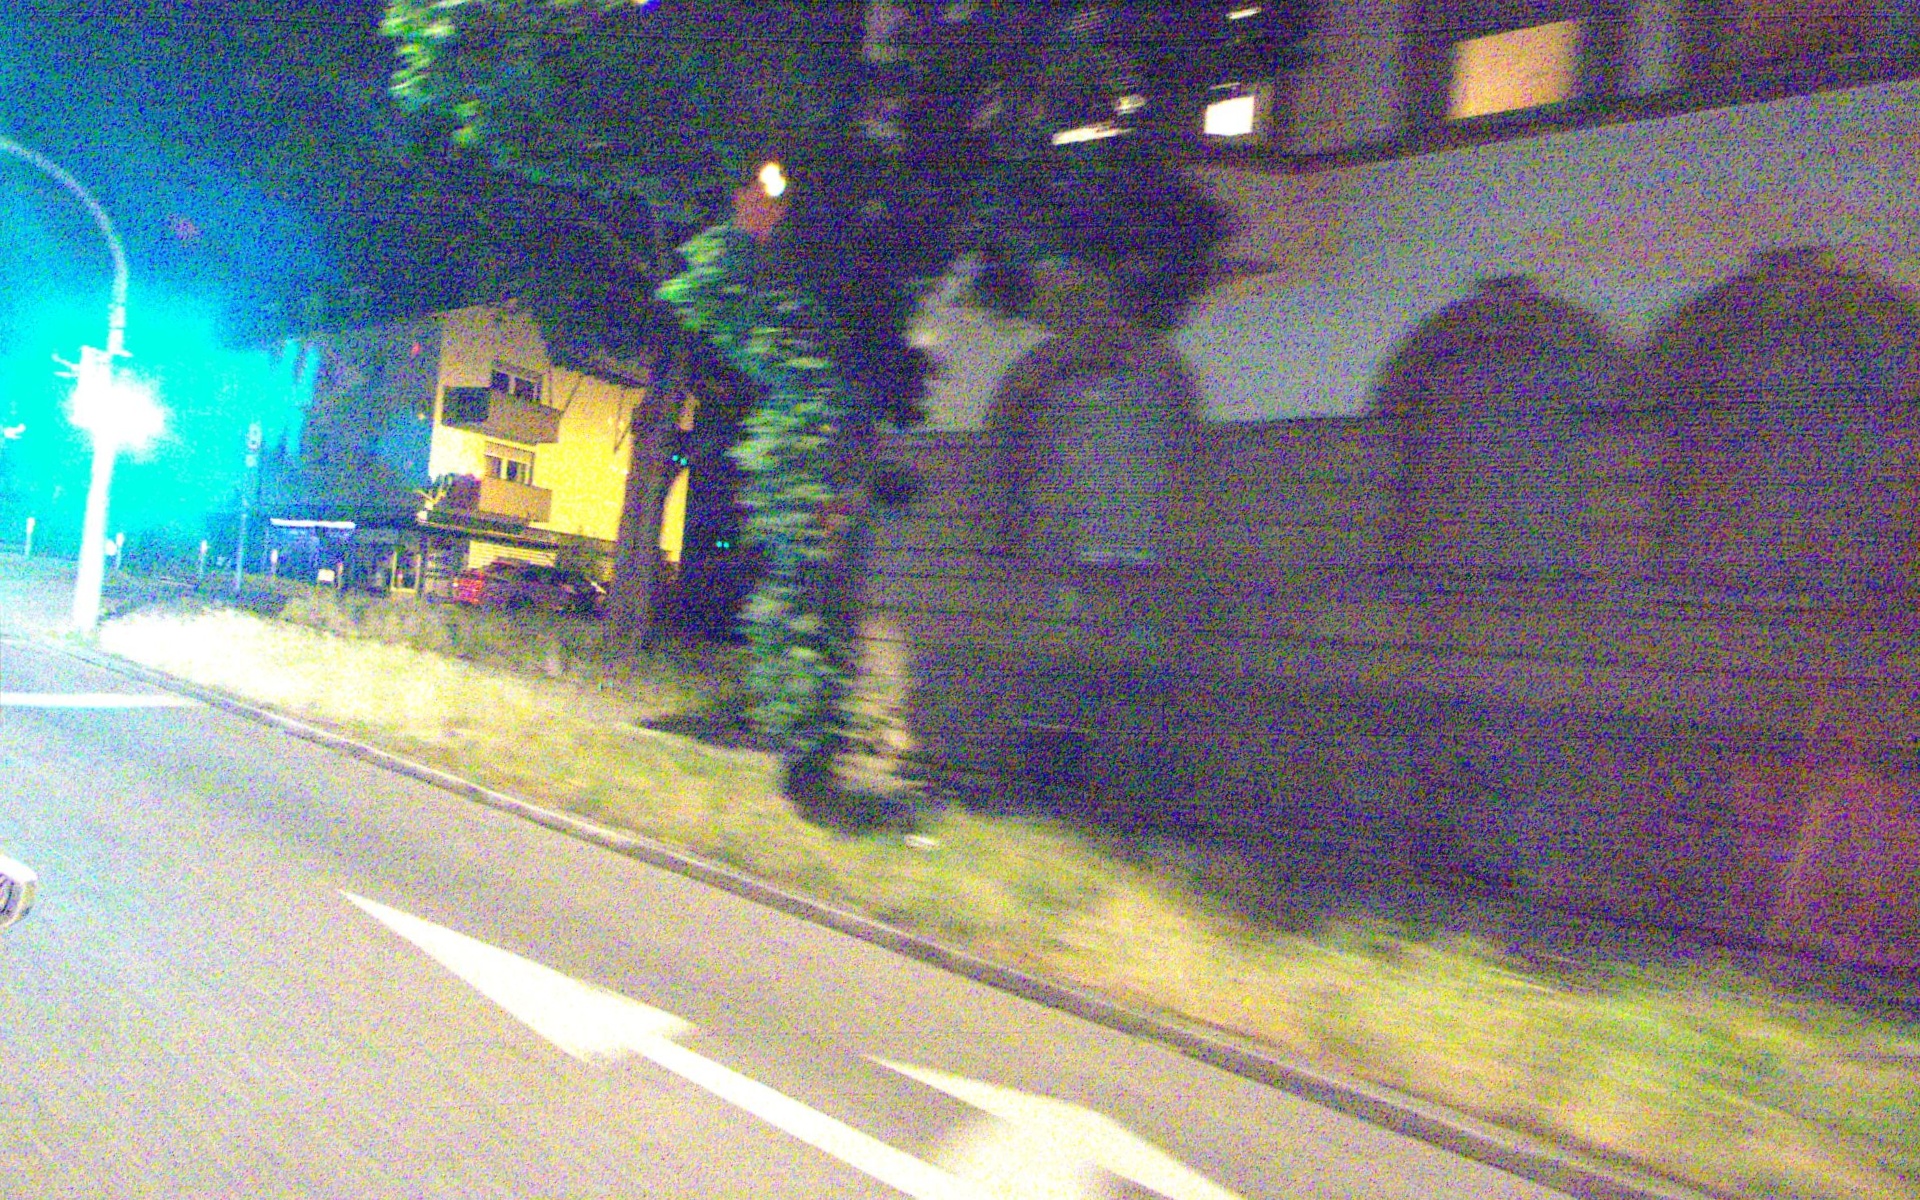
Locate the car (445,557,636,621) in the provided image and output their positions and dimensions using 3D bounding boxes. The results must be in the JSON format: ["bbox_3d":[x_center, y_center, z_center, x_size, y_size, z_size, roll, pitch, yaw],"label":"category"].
[{"bbox_3d":[-10.587,-0.255,25.609,1.740,1.297,4.124,6,2,39],"label":"car"}]
